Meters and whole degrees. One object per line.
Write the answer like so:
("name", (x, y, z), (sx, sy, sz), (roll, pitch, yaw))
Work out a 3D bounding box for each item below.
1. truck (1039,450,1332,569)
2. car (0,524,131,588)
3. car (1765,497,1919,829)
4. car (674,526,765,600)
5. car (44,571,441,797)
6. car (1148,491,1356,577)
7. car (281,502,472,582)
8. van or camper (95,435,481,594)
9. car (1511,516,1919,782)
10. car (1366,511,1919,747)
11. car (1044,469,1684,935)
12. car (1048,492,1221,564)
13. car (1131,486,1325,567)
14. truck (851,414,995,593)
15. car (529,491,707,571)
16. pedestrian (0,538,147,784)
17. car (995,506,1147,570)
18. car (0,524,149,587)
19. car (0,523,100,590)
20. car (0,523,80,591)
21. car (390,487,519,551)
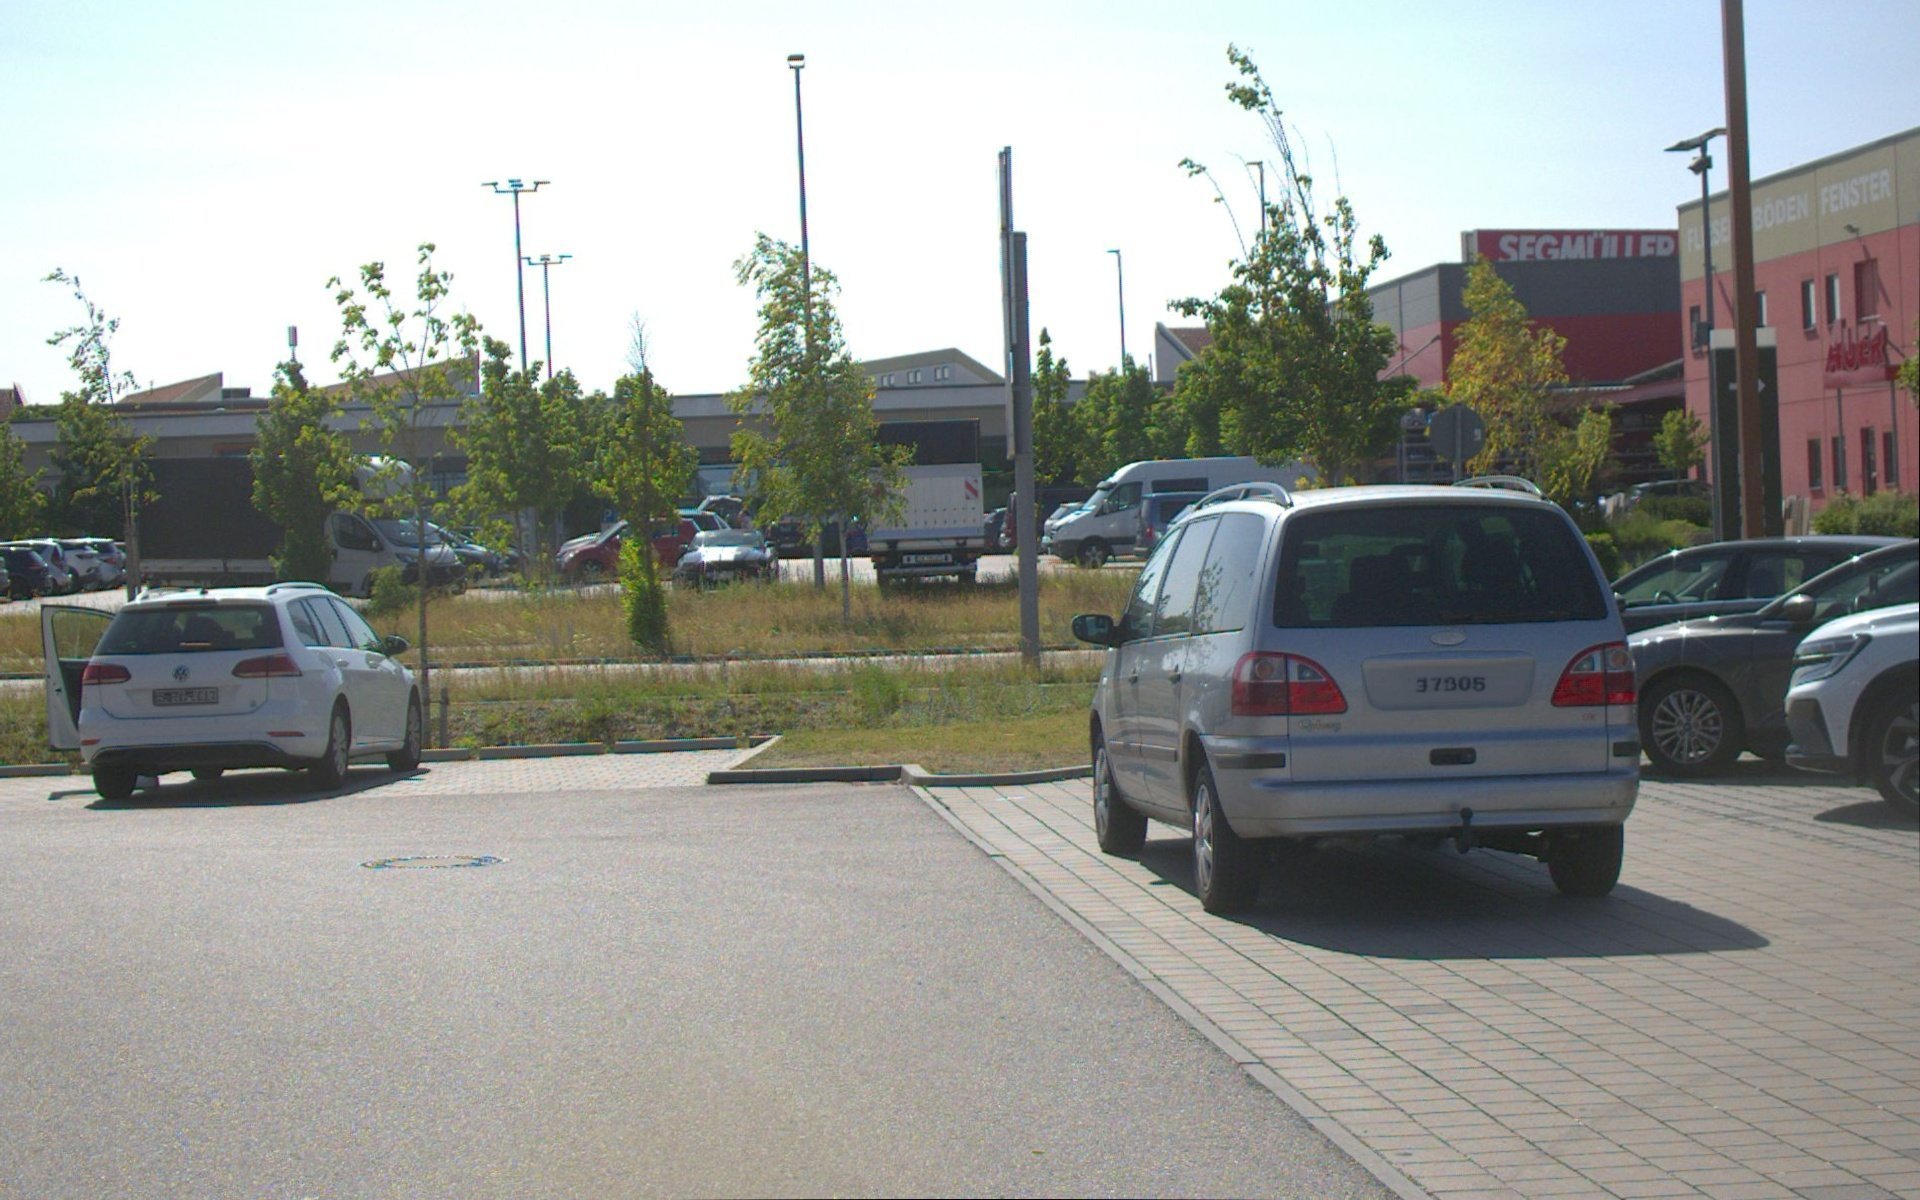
("truck", (5.611, -2.266, 85.921), (7.034, 2.805, 1.956), (-1, 1, -6))
("car", (-27.415, -1.336, 103.797), (4.389, 1.849, 1.956), (-1, 1, -6))
("car", (6.404, 0.273, 17.367), (4.199, 1.649, 1.973), (-1, 1, 26))
("car", (-4.964, -0.783, 71.349), (1.650, 1.454, 3.967), (-1, 1, -1))
("car", (-5.155, 0.563, 25.314), (1.827, 1.464, 4.481), (-2, 0, 2))
("car", (6.612, -1.507, 78.151), (4.389, 1.849, 1.956), (-1, 1, -6))
("car", (-15.516, -1.547, 91.516), (4.914, 2.007, 2.083), (-1, 1, -10))
("van or camper", (-13.970, -1.732, 71.247), (8.041, 3.091, 2.416), (-1, 1, 28))
("car", (5.682, 0.259, 20.735), (4.200, 1.521, 1.972), (0, 1, 31))
("car", (5.274, 0.168, 24.406), (4.328, 1.521, 1.971), (0, 2, 38))
("car", (1.632, 0.356, 15.652), (1.827, 1.742, 4.684), (-2, 1, -6))
("car", (4.691, -1.945, 92.857), (4.389, 1.849, 1.956), (-1, 1, -6))
("car", (6.480, -1.789, 83.338), (4.389, 1.849, 1.956), (-1, 1, -6))
("truck", (-0.754, -1.960, 70.871), (2.759, 3.468, 6.833), (-1, 1, 0))
("car", (-8.341, -1.692, 83.889), (4.252, 1.849, 1.870), (-1, 1, -6))
("pedestrian", (-6.742, 0.456, 25.945), (0.991, 1.803, 0.726), (-2, 0, 0))
("car", (3.393, -1.899, 105.385), (4.389, 1.849, 1.956), (-1, 1, -6))
("car", (-27.603, -1.395, 106.896), (4.389, 1.849, 1.956), (-1, 1, -6))
("car", (-26.896, -1.225, 97.851), (4.389, 1.849, 1.956), (-1, 1, -6))
("car", (-26.865, -1.178, 95.492), (4.389, 1.849, 1.956), (-1, 1, -6))
("car", (-16.641, -2.658, 113.300), (3.986, 2.007, 2.000), (-1, 1, -3))
